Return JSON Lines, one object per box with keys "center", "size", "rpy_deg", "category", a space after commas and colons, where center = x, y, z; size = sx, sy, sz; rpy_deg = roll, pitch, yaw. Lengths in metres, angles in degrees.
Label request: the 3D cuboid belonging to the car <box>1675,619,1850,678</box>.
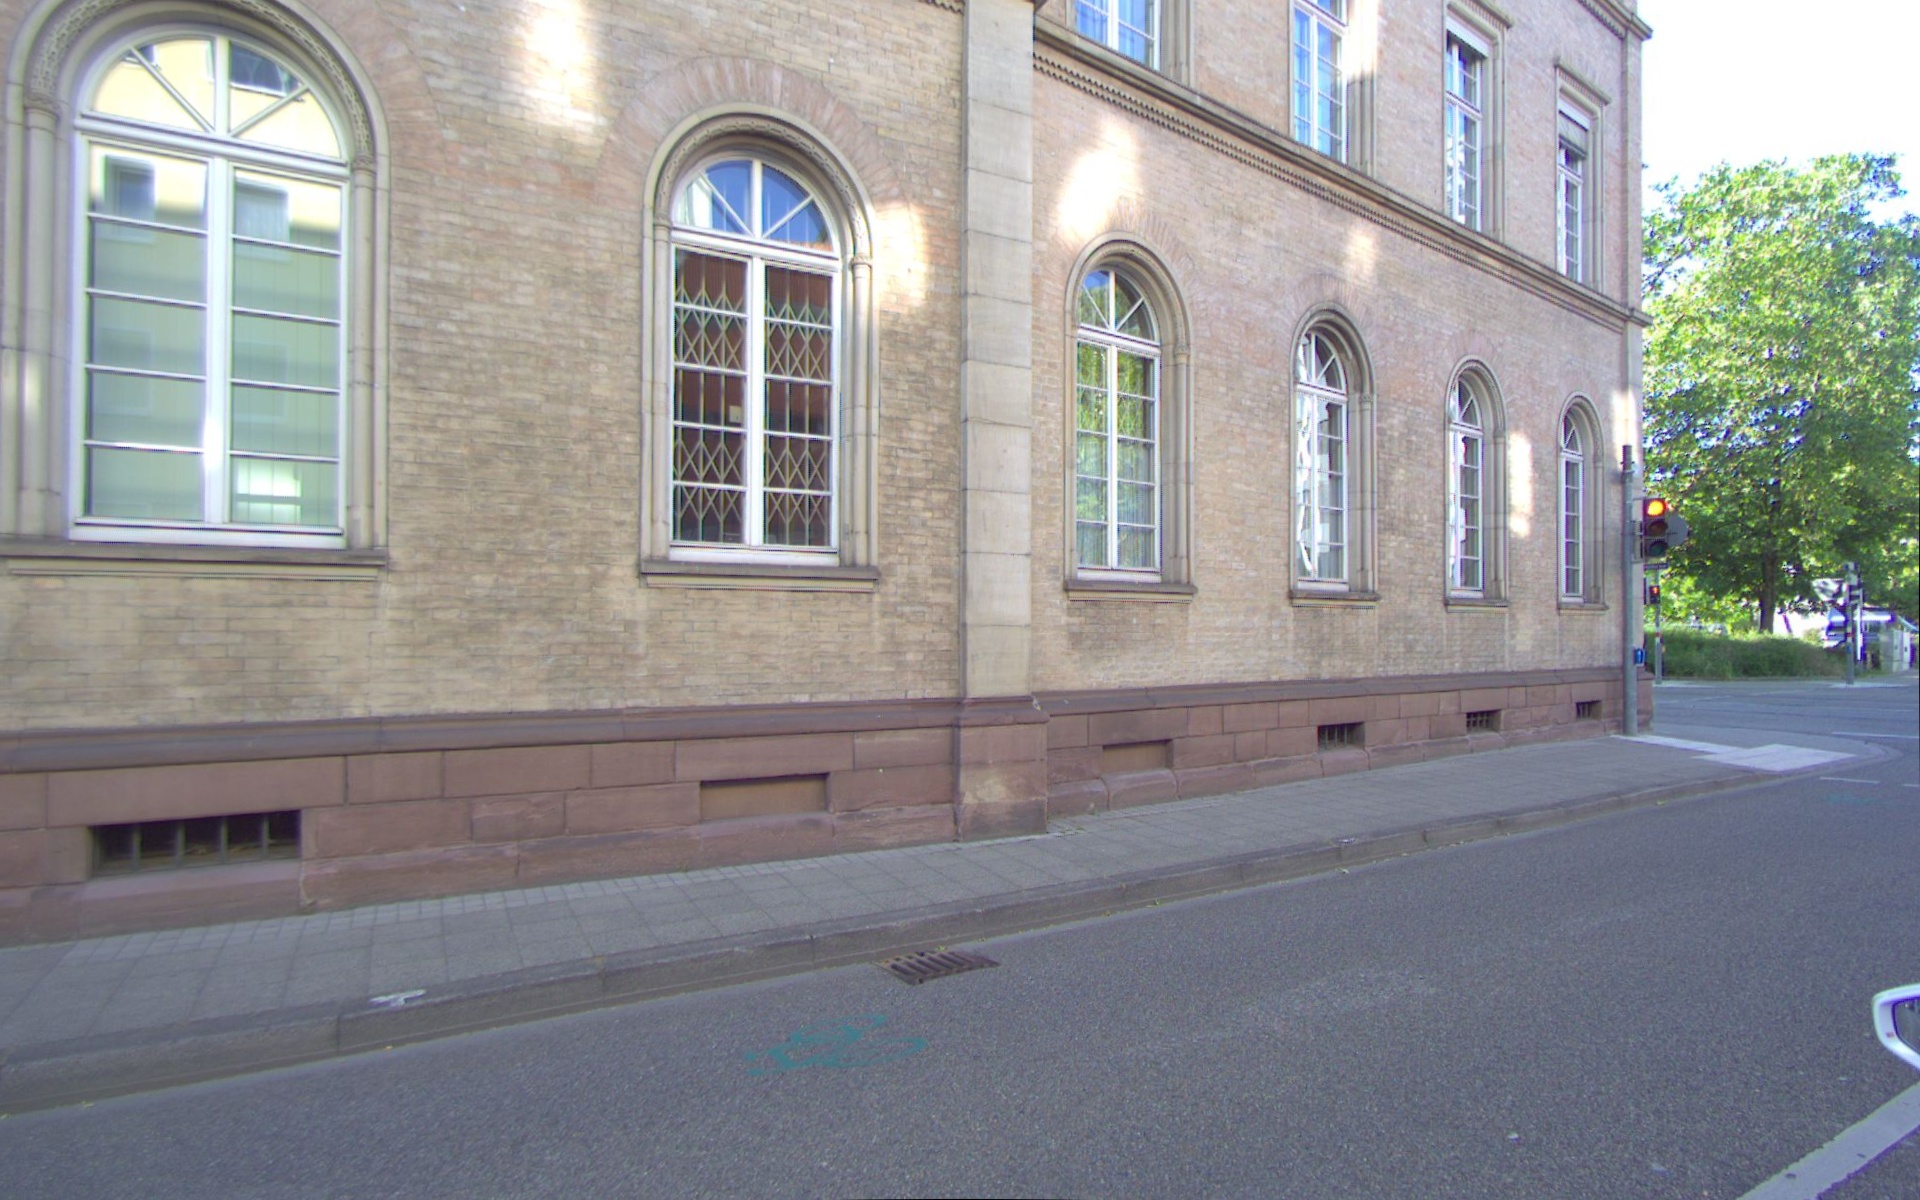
{"center": [26.348, 1.551, 33.110], "size": [1.888, 1.801, 4.193], "rpy_deg": [1, -2, -37], "category": "car"}
